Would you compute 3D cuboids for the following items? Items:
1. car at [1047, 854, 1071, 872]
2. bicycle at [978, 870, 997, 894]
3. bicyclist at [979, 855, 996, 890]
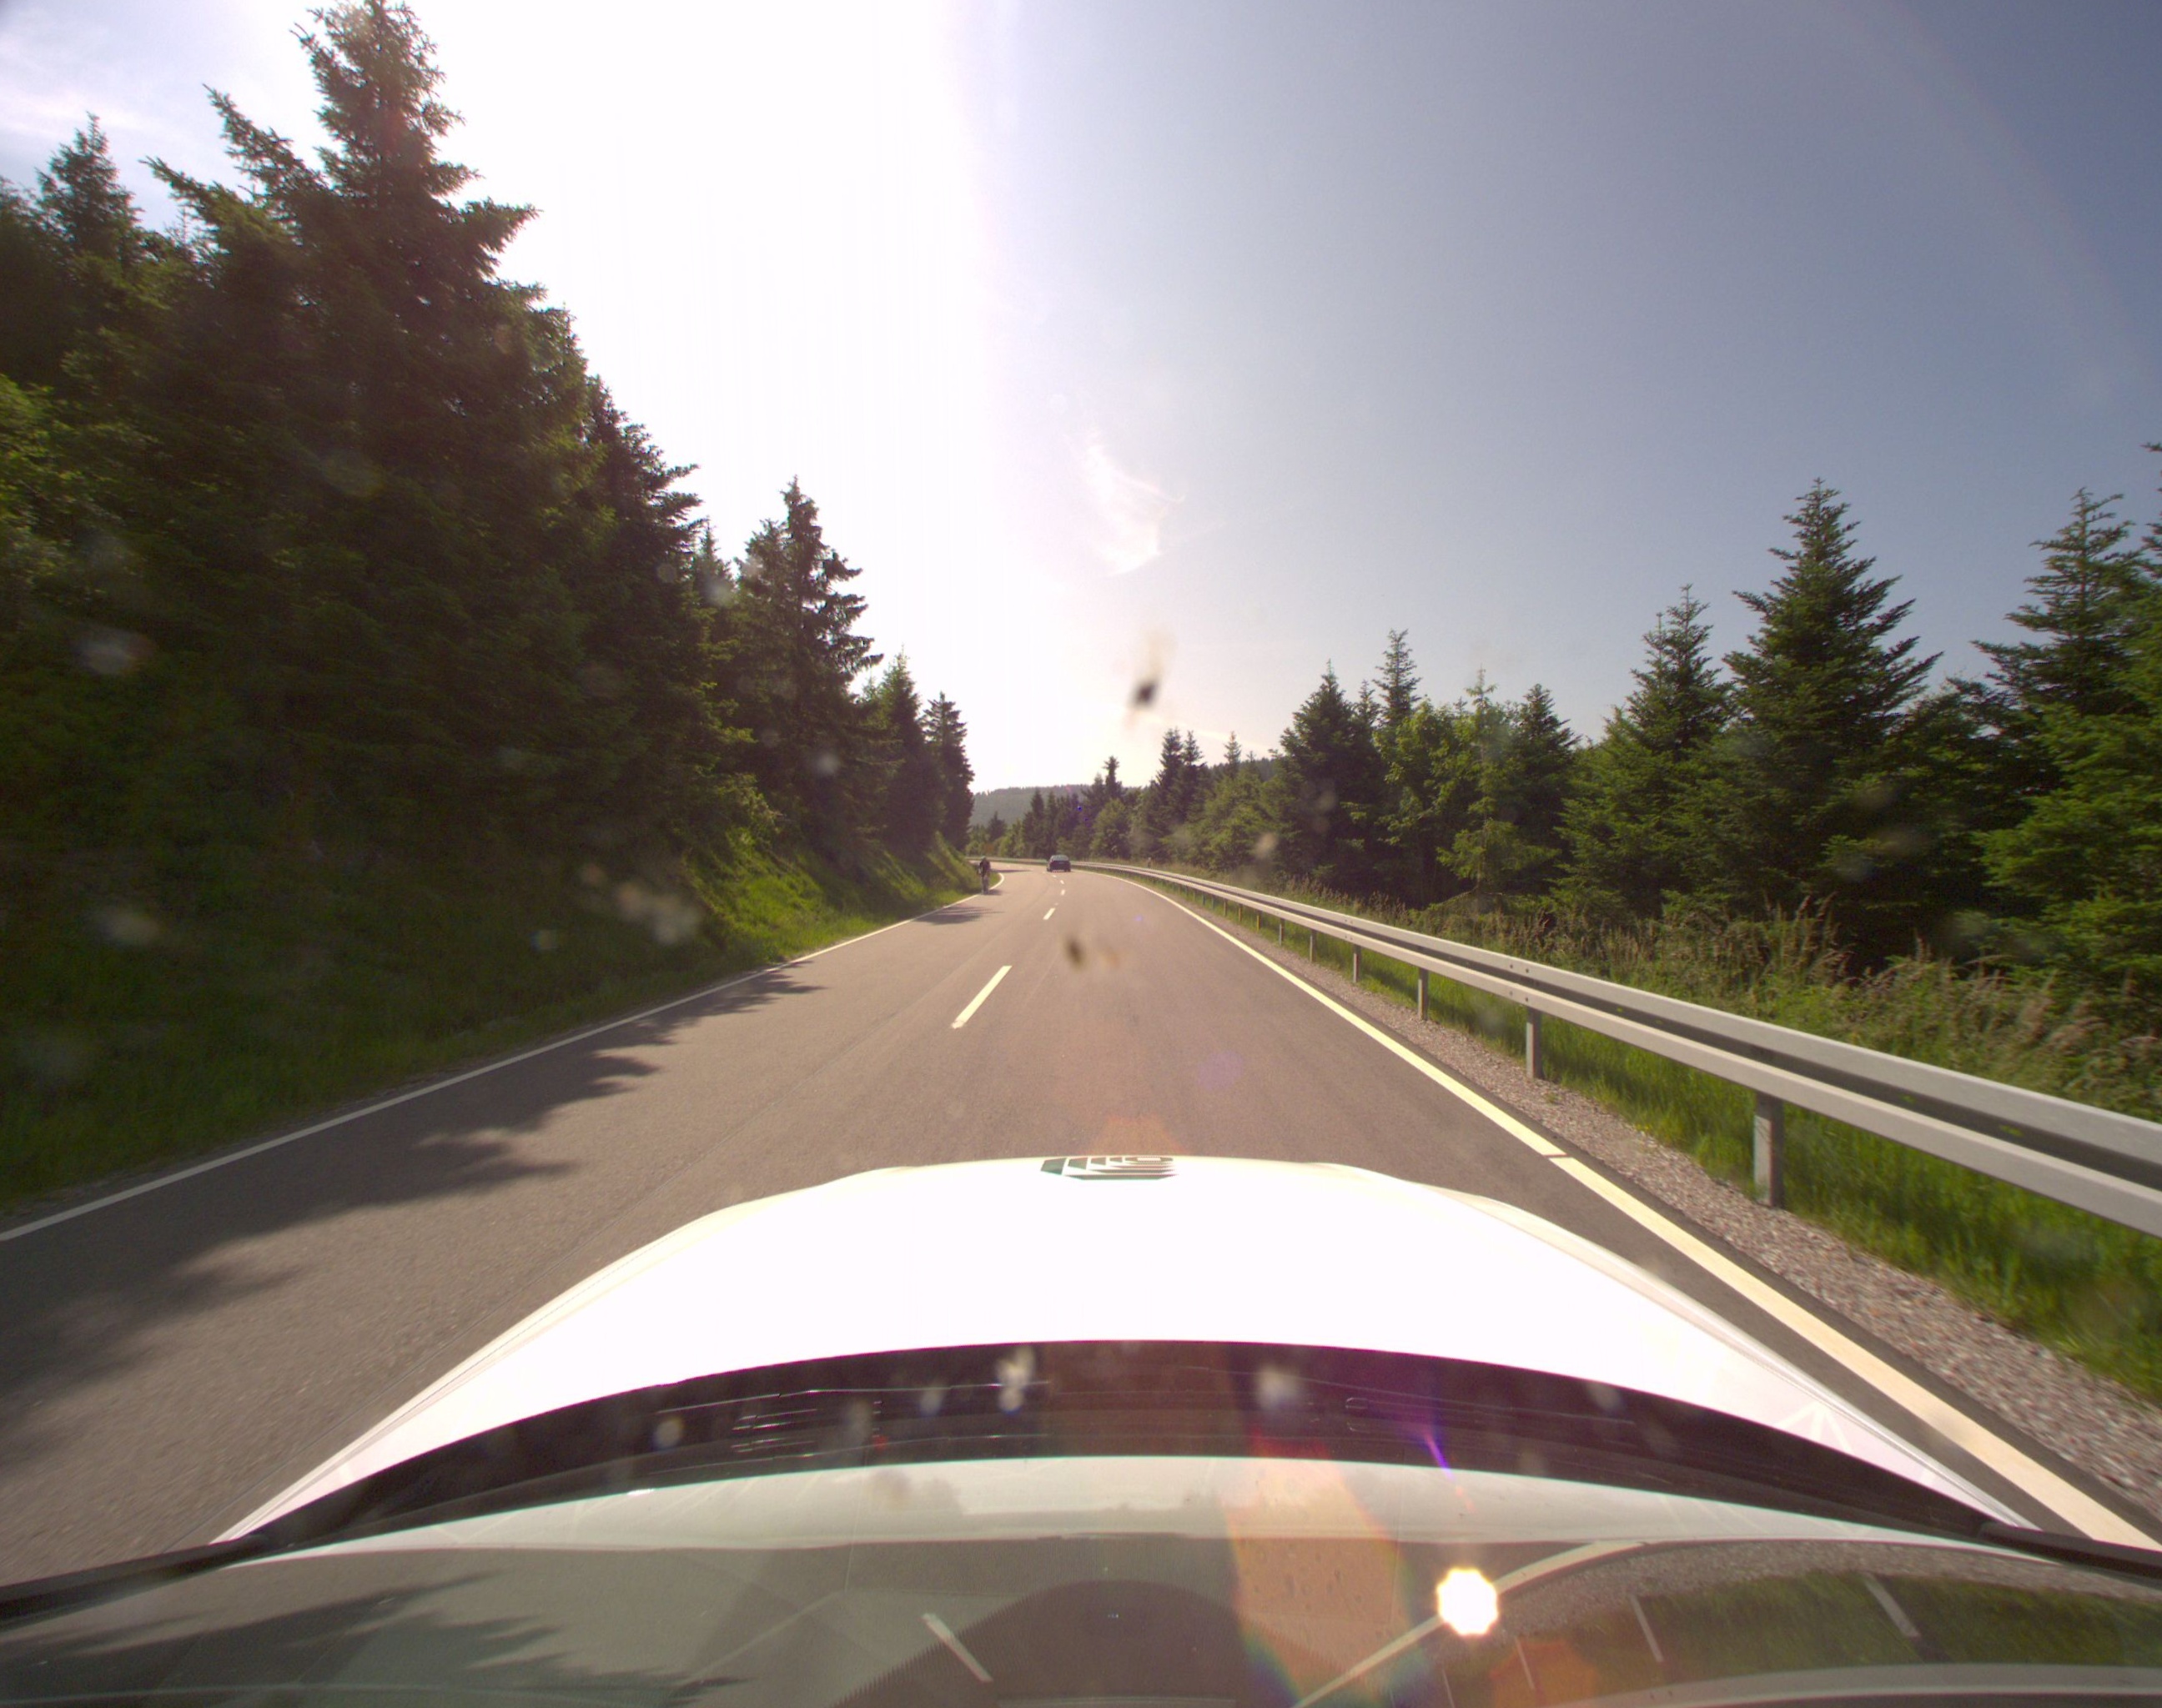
[{"bbox_3d":[-1.904,0.724,70.018,1.774,1.442,3.701,-2,0,-6],"label":"car"},{"bbox_3d":[-3.897,1.155,34.177,0.551,0.886,2.061,-2,0,-1],"label":"bicycle"},{"bbox_3d":[-3.915,0.769,34.070,0.540,1.451,0.983,-2,0,-1],"label":"bicyclist"}]
